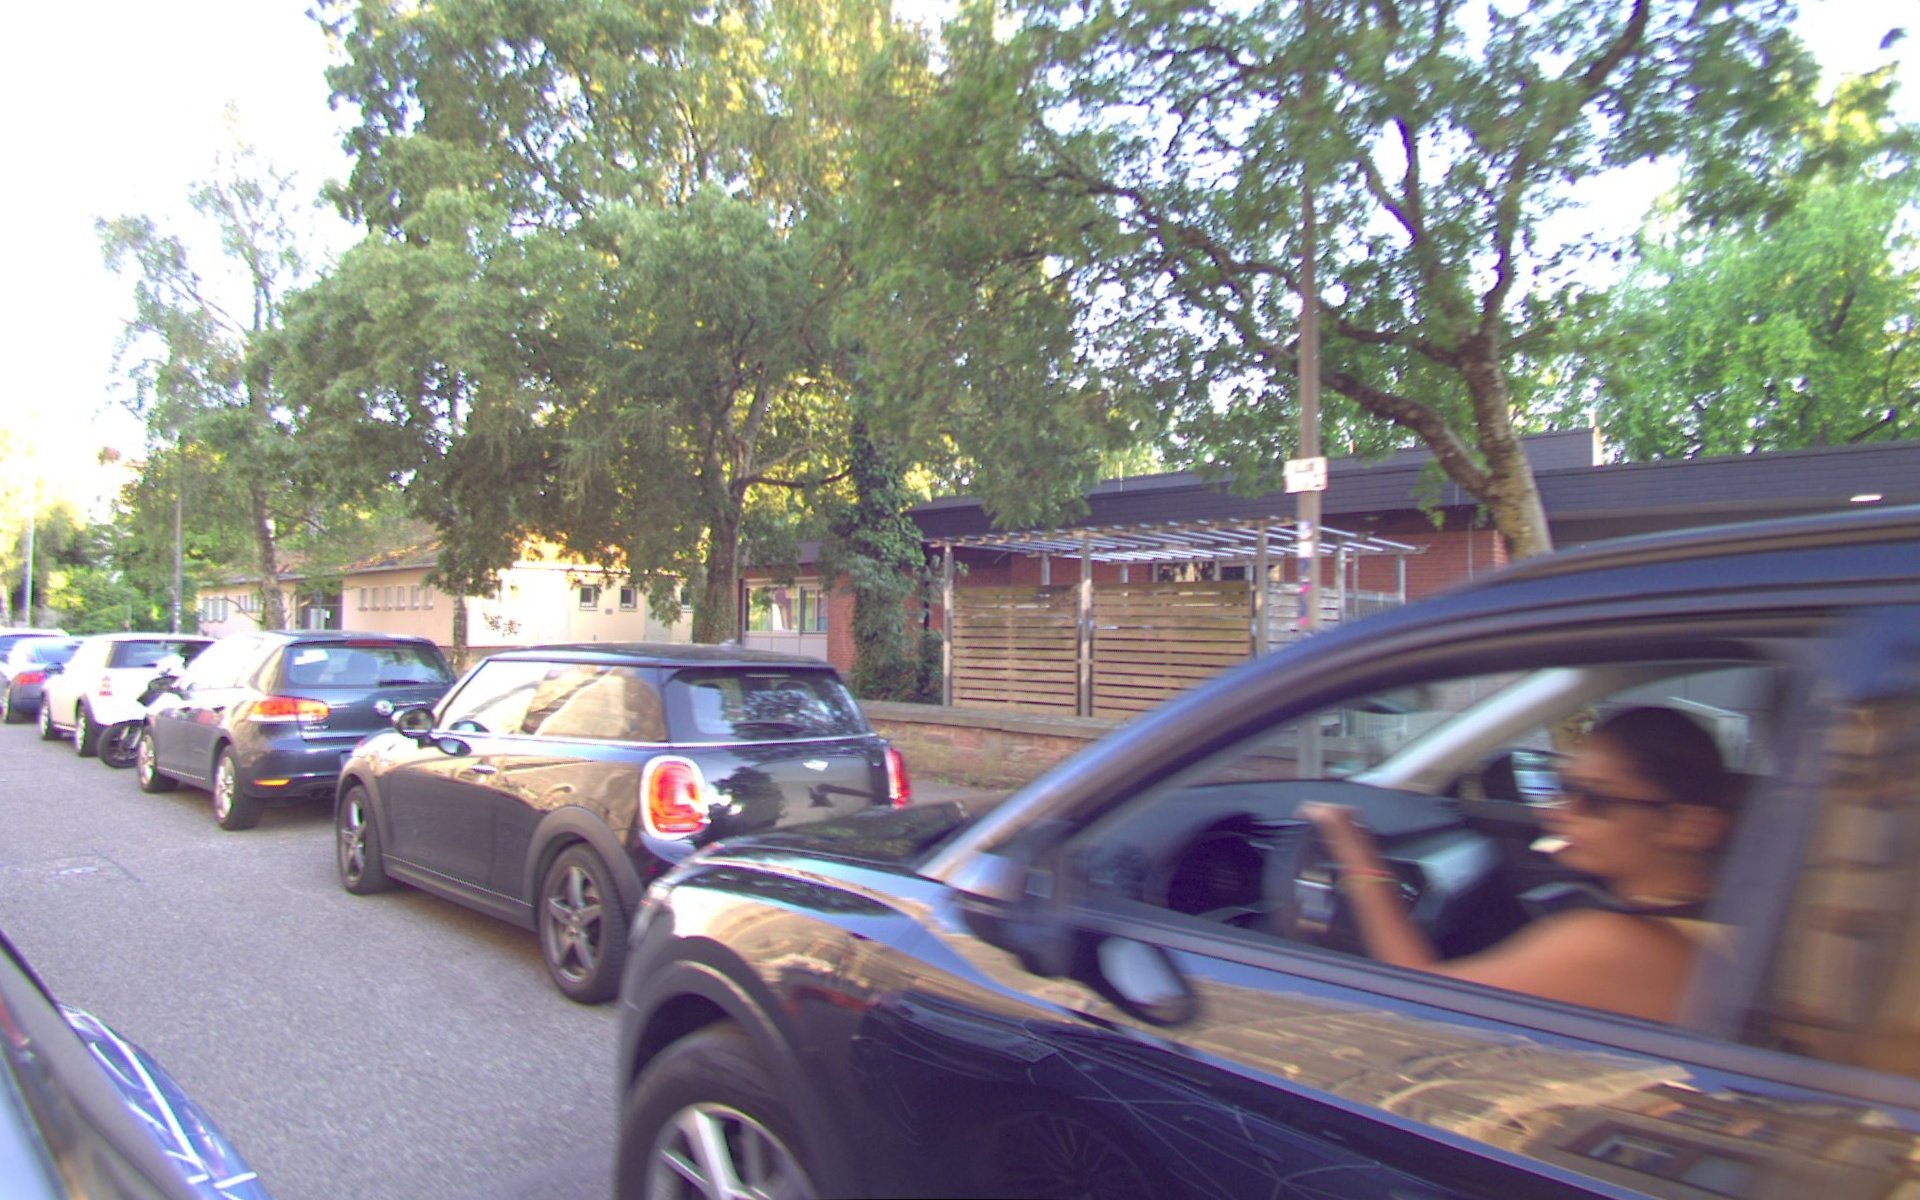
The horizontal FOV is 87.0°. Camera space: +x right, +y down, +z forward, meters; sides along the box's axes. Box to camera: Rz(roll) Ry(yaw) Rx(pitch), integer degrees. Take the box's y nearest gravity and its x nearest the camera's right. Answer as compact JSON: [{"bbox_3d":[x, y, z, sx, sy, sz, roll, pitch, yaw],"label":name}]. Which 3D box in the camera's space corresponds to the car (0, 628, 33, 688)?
[{"bbox_3d":[-25.286,1.415,25.800,4.745,1.457,1.764,-1,-5,40],"label":"car"}]

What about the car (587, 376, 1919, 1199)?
[{"bbox_3d":[1.421,0.677,0.978,1.782,1.581,4.571,2,-3,-42],"label":"car"}]

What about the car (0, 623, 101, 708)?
[{"bbox_3d":[-19.032,1.249,20.394,4.755,1.550,1.841,-1,-3,40],"label":"car"}]

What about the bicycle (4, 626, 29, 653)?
[{"bbox_3d":[-40.371,1.666,43.282,1.953,1.126,0.538,-2,-2,40],"label":"bicycle"}]

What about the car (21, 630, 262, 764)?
[{"bbox_3d":[-10.486,1.152,12.882,3.800,1.442,1.585,-1,-5,40],"label":"car"}]

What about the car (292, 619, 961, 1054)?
[{"bbox_3d":[-2.025,0.885,5.451,3.991,1.489,1.619,-1,-4,42],"label":"car"}]

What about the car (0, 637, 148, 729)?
[{"bbox_3d":[-15.074,1.308,16.889,4.153,1.323,1.641,-1,-4,41],"label":"car"}]

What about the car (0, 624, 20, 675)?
[{"bbox_3d":[-29.414,1.438,29.770,3.994,1.464,1.974,-1,-2,38],"label":"car"}]

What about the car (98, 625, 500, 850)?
[{"bbox_3d":[-5.932,1.001,8.872,4.357,1.507,1.698,-1,-4,40],"label":"car"}]

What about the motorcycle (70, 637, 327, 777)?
[{"bbox_3d":[-8.089,1.086,10.883,2.135,1.313,0.882,0,-1,-35],"label":"motorcycle"}]
